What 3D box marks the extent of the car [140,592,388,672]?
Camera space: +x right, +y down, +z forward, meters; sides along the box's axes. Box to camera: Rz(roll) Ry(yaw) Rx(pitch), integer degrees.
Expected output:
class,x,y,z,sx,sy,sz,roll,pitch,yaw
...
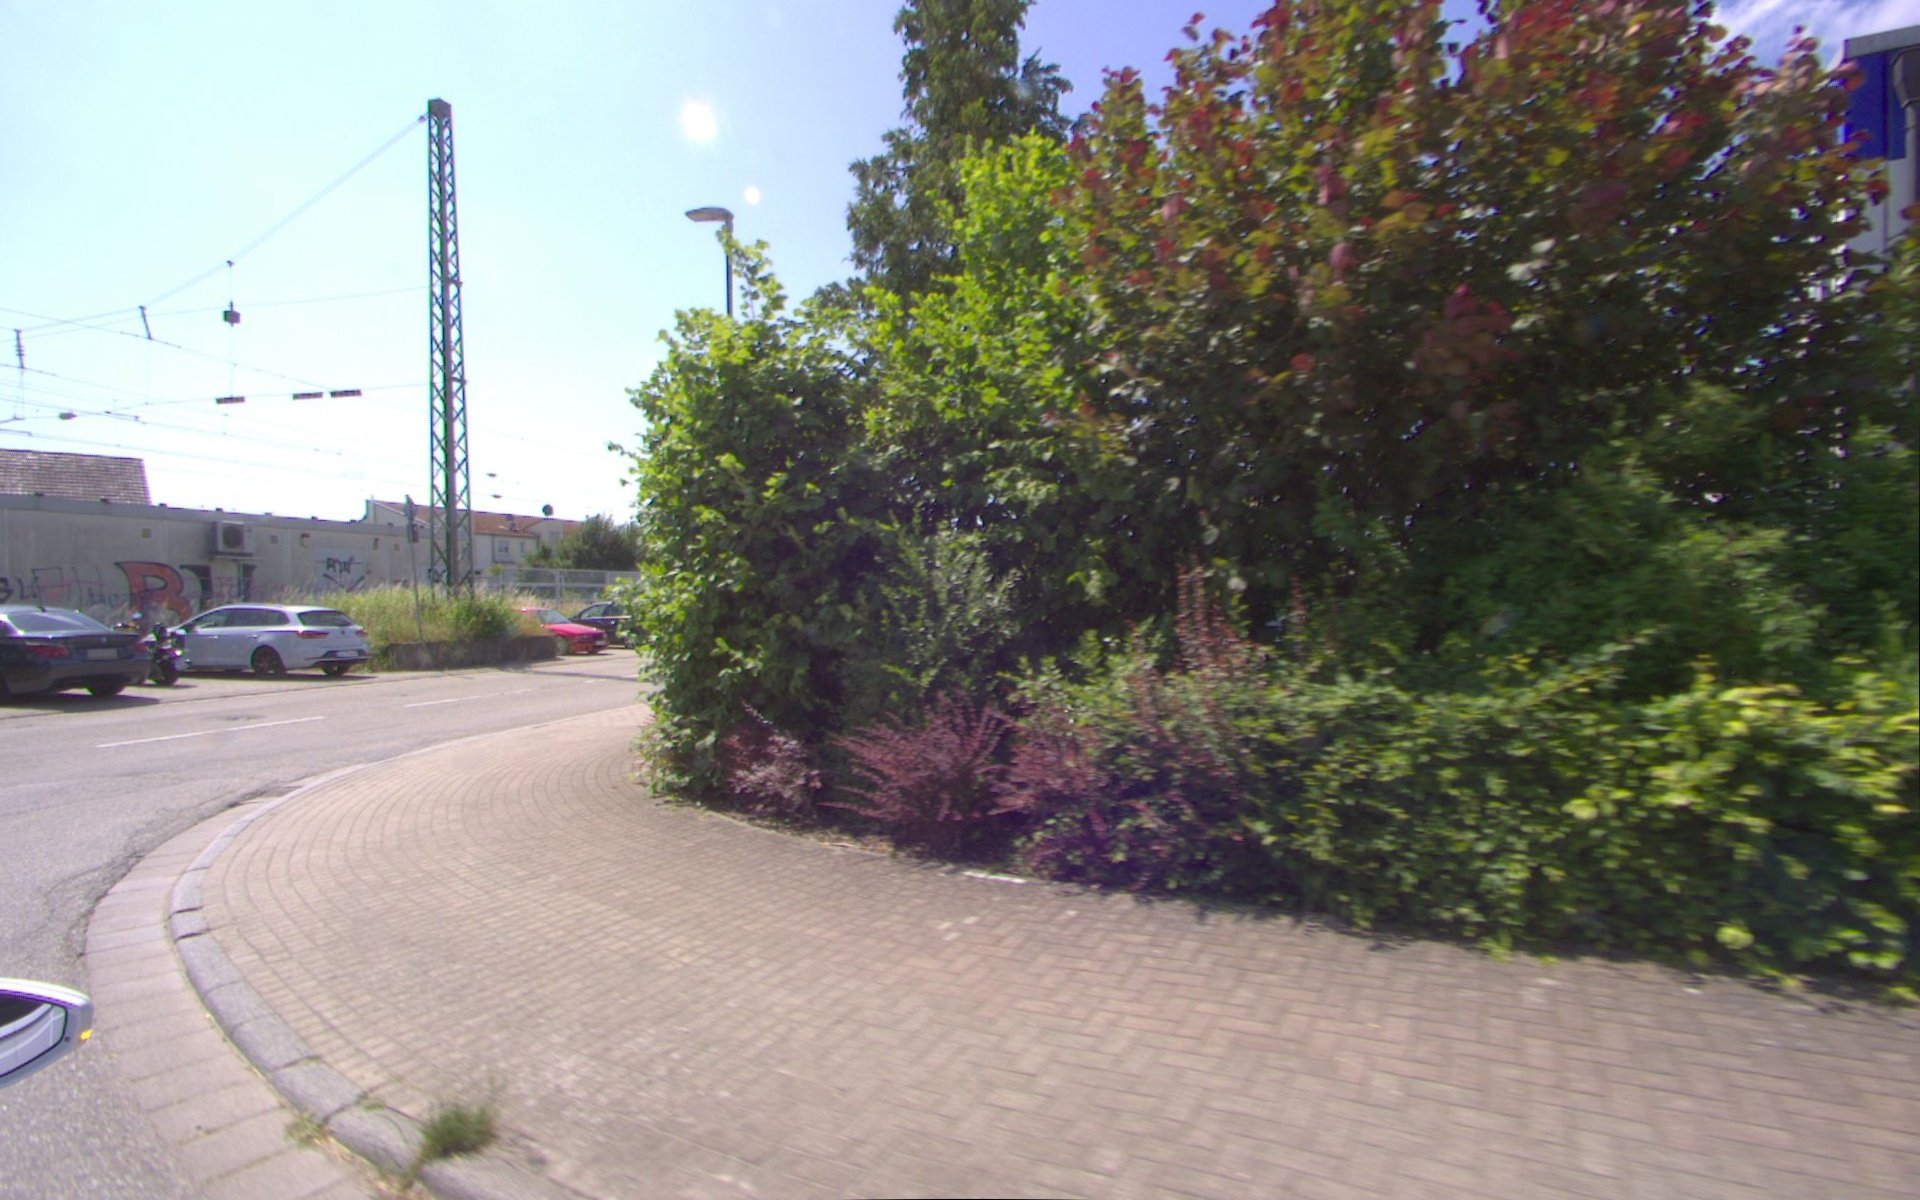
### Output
class,x,y,z,sx,sy,sz,roll,pitch,yaw
car,-13.921,0.620,20.108,4.035,1.395,1.708,2,-1,10

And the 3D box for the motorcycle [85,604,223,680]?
class,x,y,z,sx,sy,sz,roll,pitch,yaw
motorcycle,-14.320,0.715,17.811,1.958,1.245,0.899,2,1,13

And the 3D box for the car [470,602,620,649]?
class,x,y,z,sx,sy,sz,roll,pitch,yaw
car,-11.873,0.745,28.696,3.771,1.295,1.497,0,-3,13

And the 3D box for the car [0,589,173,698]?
class,x,y,z,sx,sy,sz,roll,pitch,yaw
car,-14.589,0.585,15.306,3.923,1.404,1.757,4,-1,9

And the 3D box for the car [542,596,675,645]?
class,x,y,z,sx,sy,sz,roll,pitch,yaw
car,-11.242,0.664,32.085,3.771,1.489,1.497,0,-3,13

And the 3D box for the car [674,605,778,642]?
class,x,y,z,sx,sy,sz,roll,pitch,yaw
car,-9.320,0.949,39.993,3.771,1.443,1.496,0,-1,13

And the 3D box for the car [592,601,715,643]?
class,x,y,z,sx,sy,sz,roll,pitch,yaw
car,-10.463,0.759,34.254,3.771,1.384,1.496,0,-1,13
